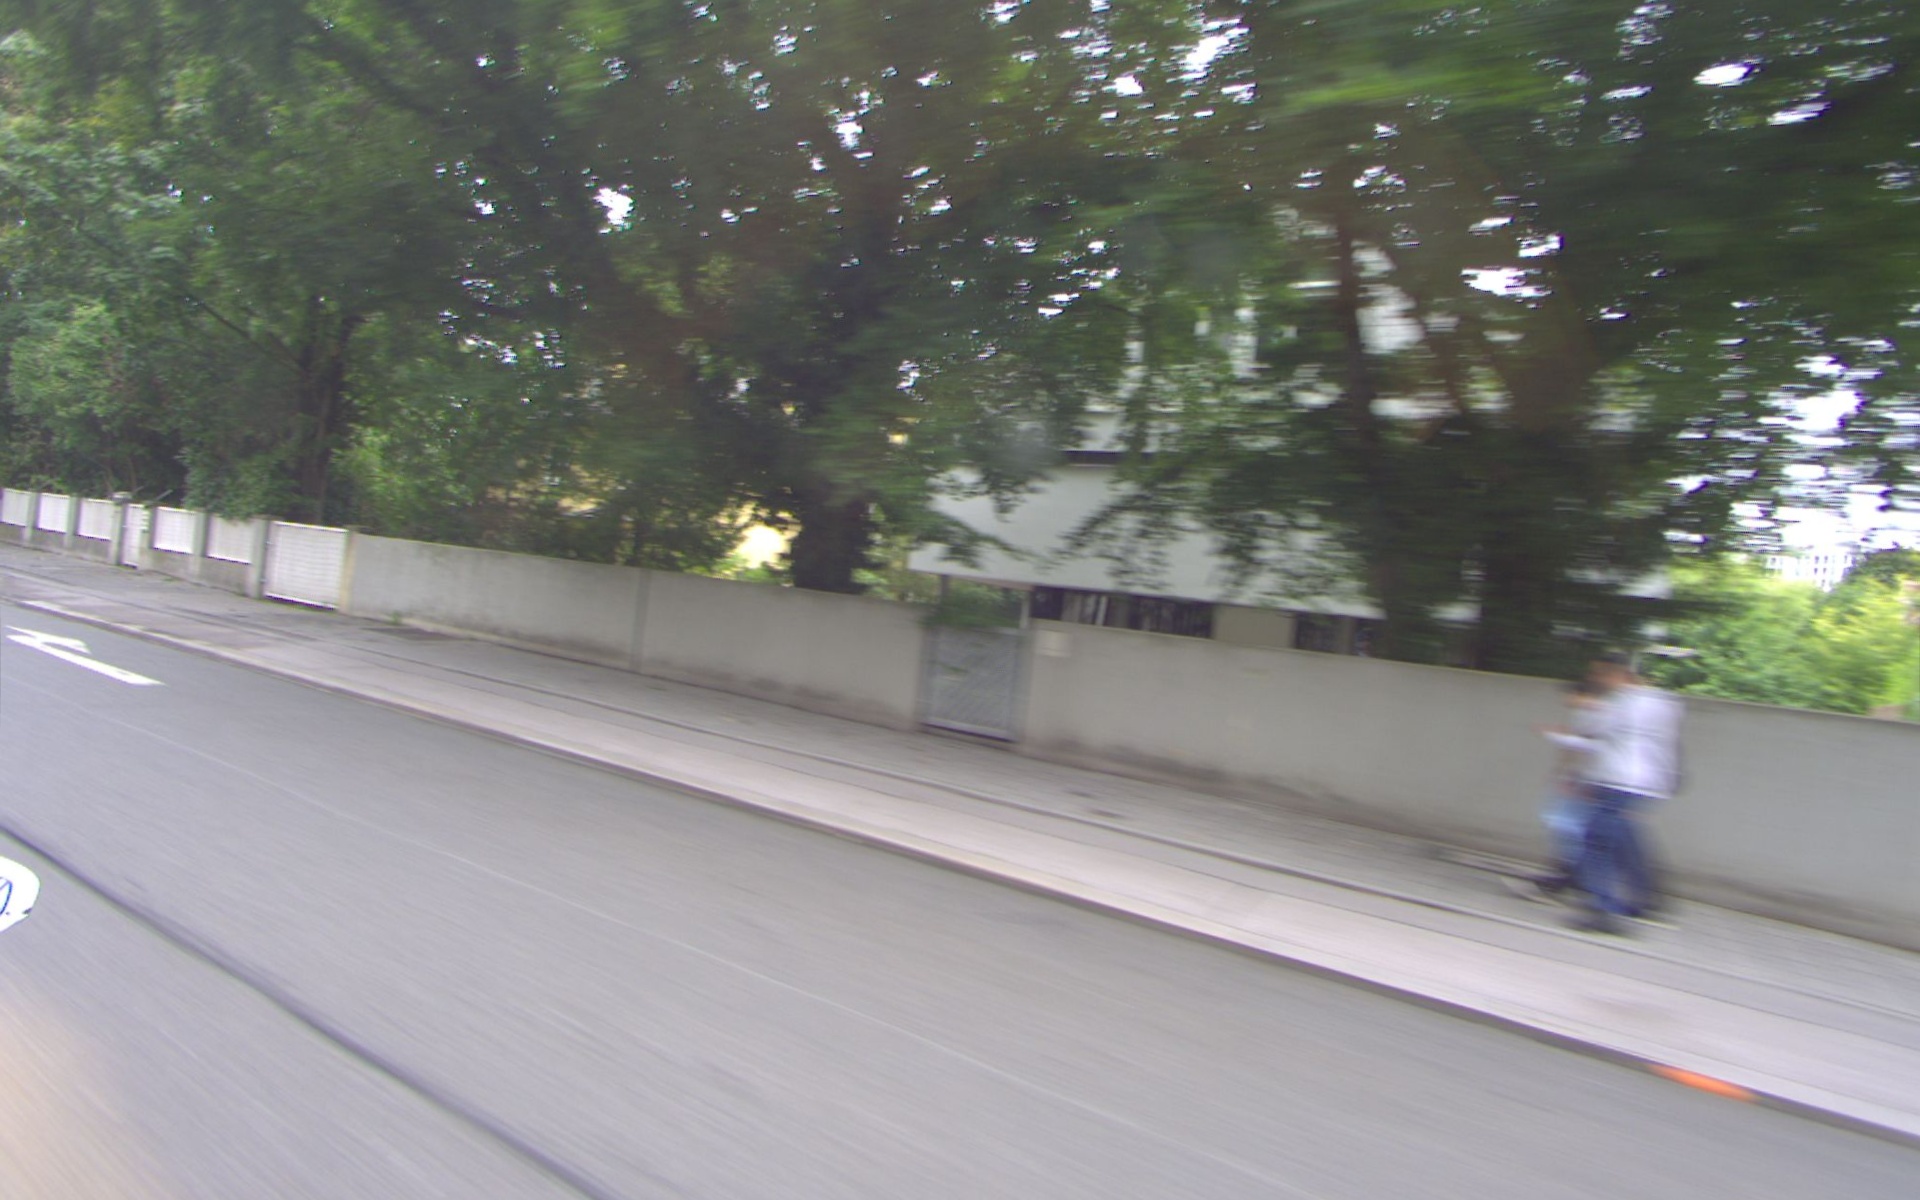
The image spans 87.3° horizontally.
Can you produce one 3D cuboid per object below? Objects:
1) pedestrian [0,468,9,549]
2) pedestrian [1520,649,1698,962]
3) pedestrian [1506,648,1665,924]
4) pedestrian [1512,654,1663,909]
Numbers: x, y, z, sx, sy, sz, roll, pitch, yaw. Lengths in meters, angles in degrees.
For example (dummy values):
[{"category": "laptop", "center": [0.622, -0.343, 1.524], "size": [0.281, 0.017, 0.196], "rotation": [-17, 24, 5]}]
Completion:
[{"category": "pedestrian", "center": [-23.793, -2.277, 24.408], "size": [0.789, 1.967, 0.778], "rotation": [7, 2, 31]}, {"category": "pedestrian", "center": [4.022, 1.215, 6.294], "size": [0.716, 1.745, 0.666], "rotation": [7, 2, 30]}, {"category": "pedestrian", "center": [4.293, 1.226, 6.952], "size": [0.716, 1.715, 0.666], "rotation": [7, 2, 30]}, {"category": "pedestrian", "center": [4.716, 1.319, 7.608], "size": [0.753, 1.728, 0.666], "rotation": [7, 2, 30]}]
